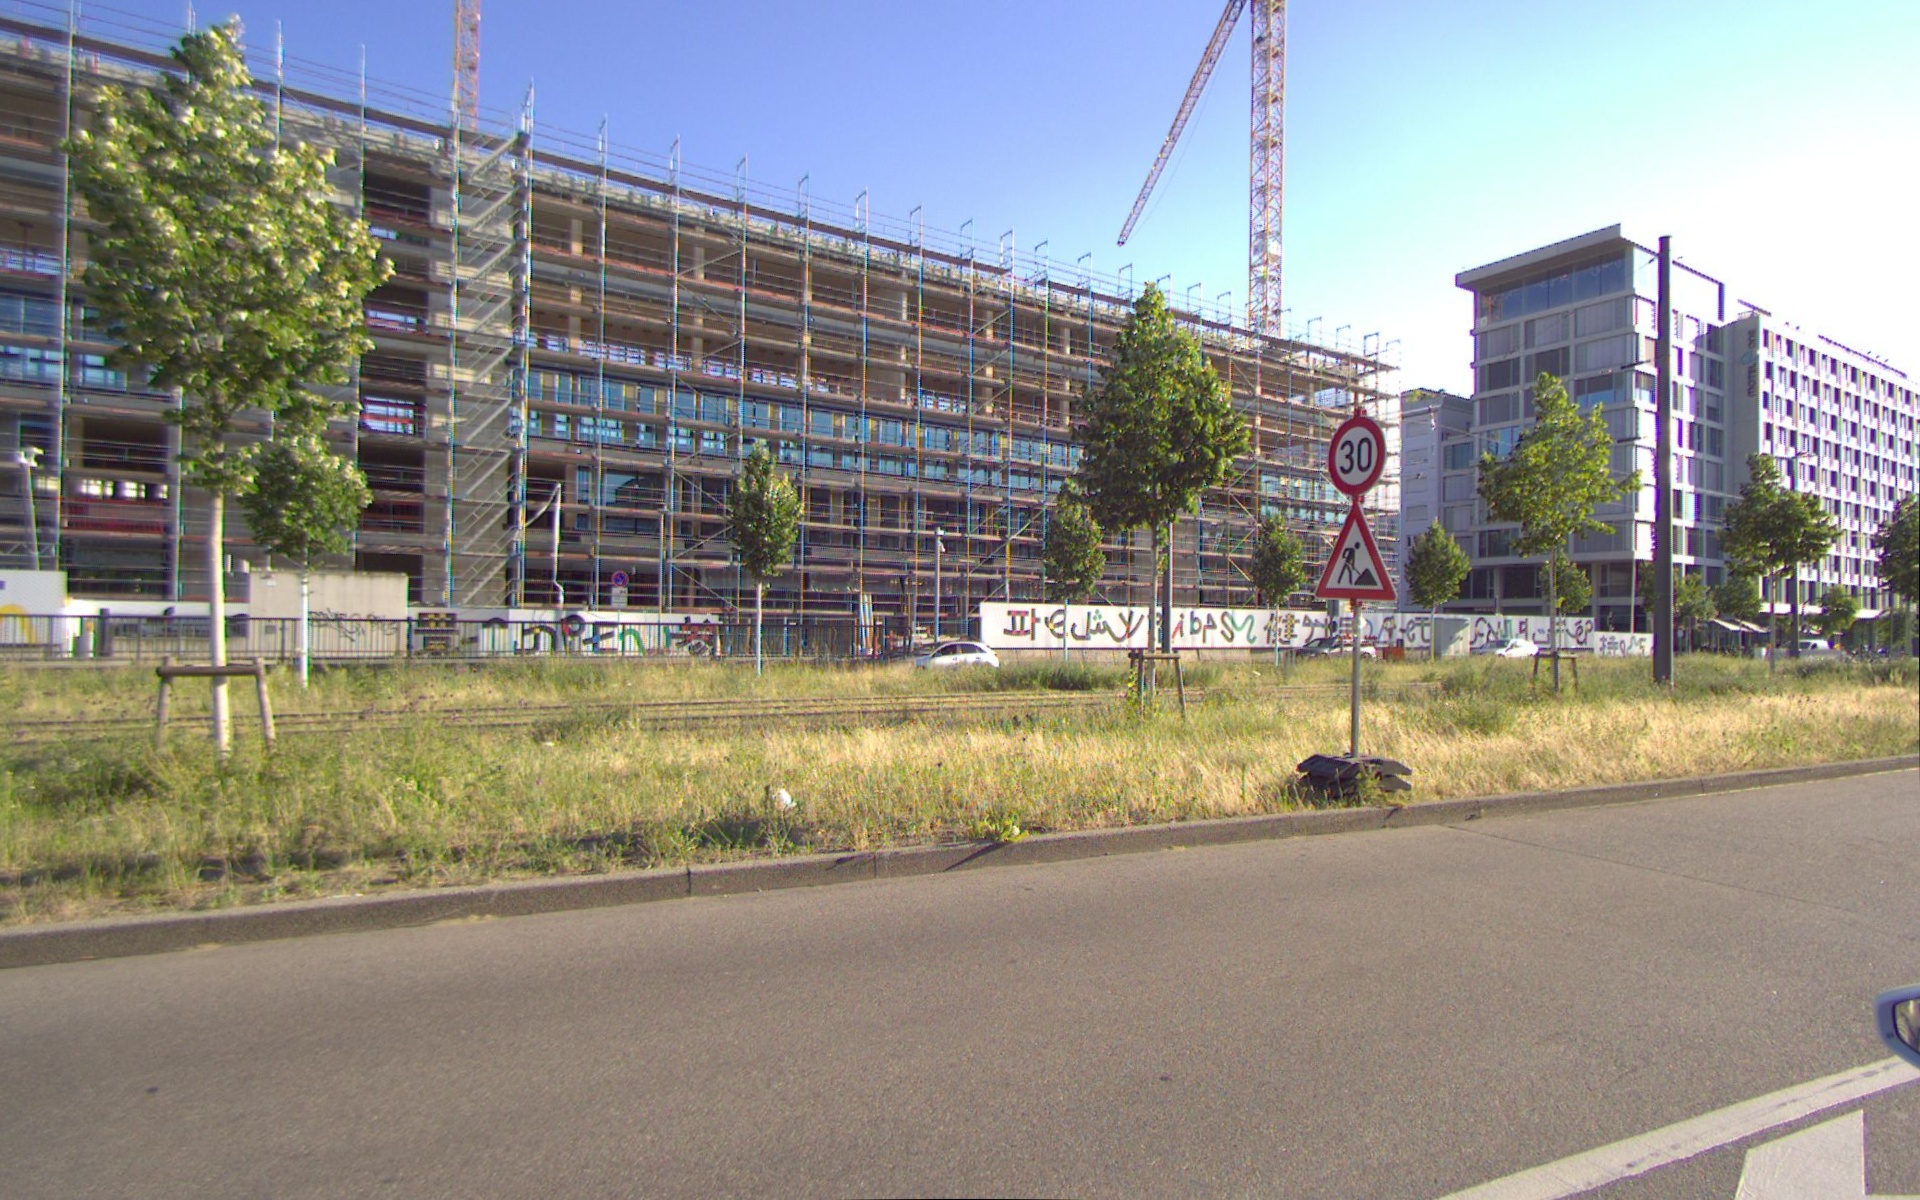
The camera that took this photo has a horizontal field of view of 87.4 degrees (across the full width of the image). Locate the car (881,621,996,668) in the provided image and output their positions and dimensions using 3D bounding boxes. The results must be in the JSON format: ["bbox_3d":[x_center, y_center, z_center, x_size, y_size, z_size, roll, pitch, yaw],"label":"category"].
[{"bbox_3d":[-0.711,1.498,34.138,3.543,1.461,1.699,2,0,-32],"label":"car"}]

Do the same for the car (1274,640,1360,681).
[{"bbox_3d":[16.141,2.727,45.377,3.596,1.706,1.781,2,0,-31],"label":"car"}]

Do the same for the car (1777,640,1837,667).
[{"bbox_3d":[56.396,3.543,66.850,3.591,1.706,1.784,2,0,-27],"label":"car"}]

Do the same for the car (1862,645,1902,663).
[{"bbox_3d":[81.441,4.796,88.724,3.543,1.461,1.699,2,0,-32],"label":"car"}]

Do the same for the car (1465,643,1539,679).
[{"bbox_3d":[28.059,3.137,51.954,3.596,1.706,1.781,2,0,-31],"label":"car"}]
